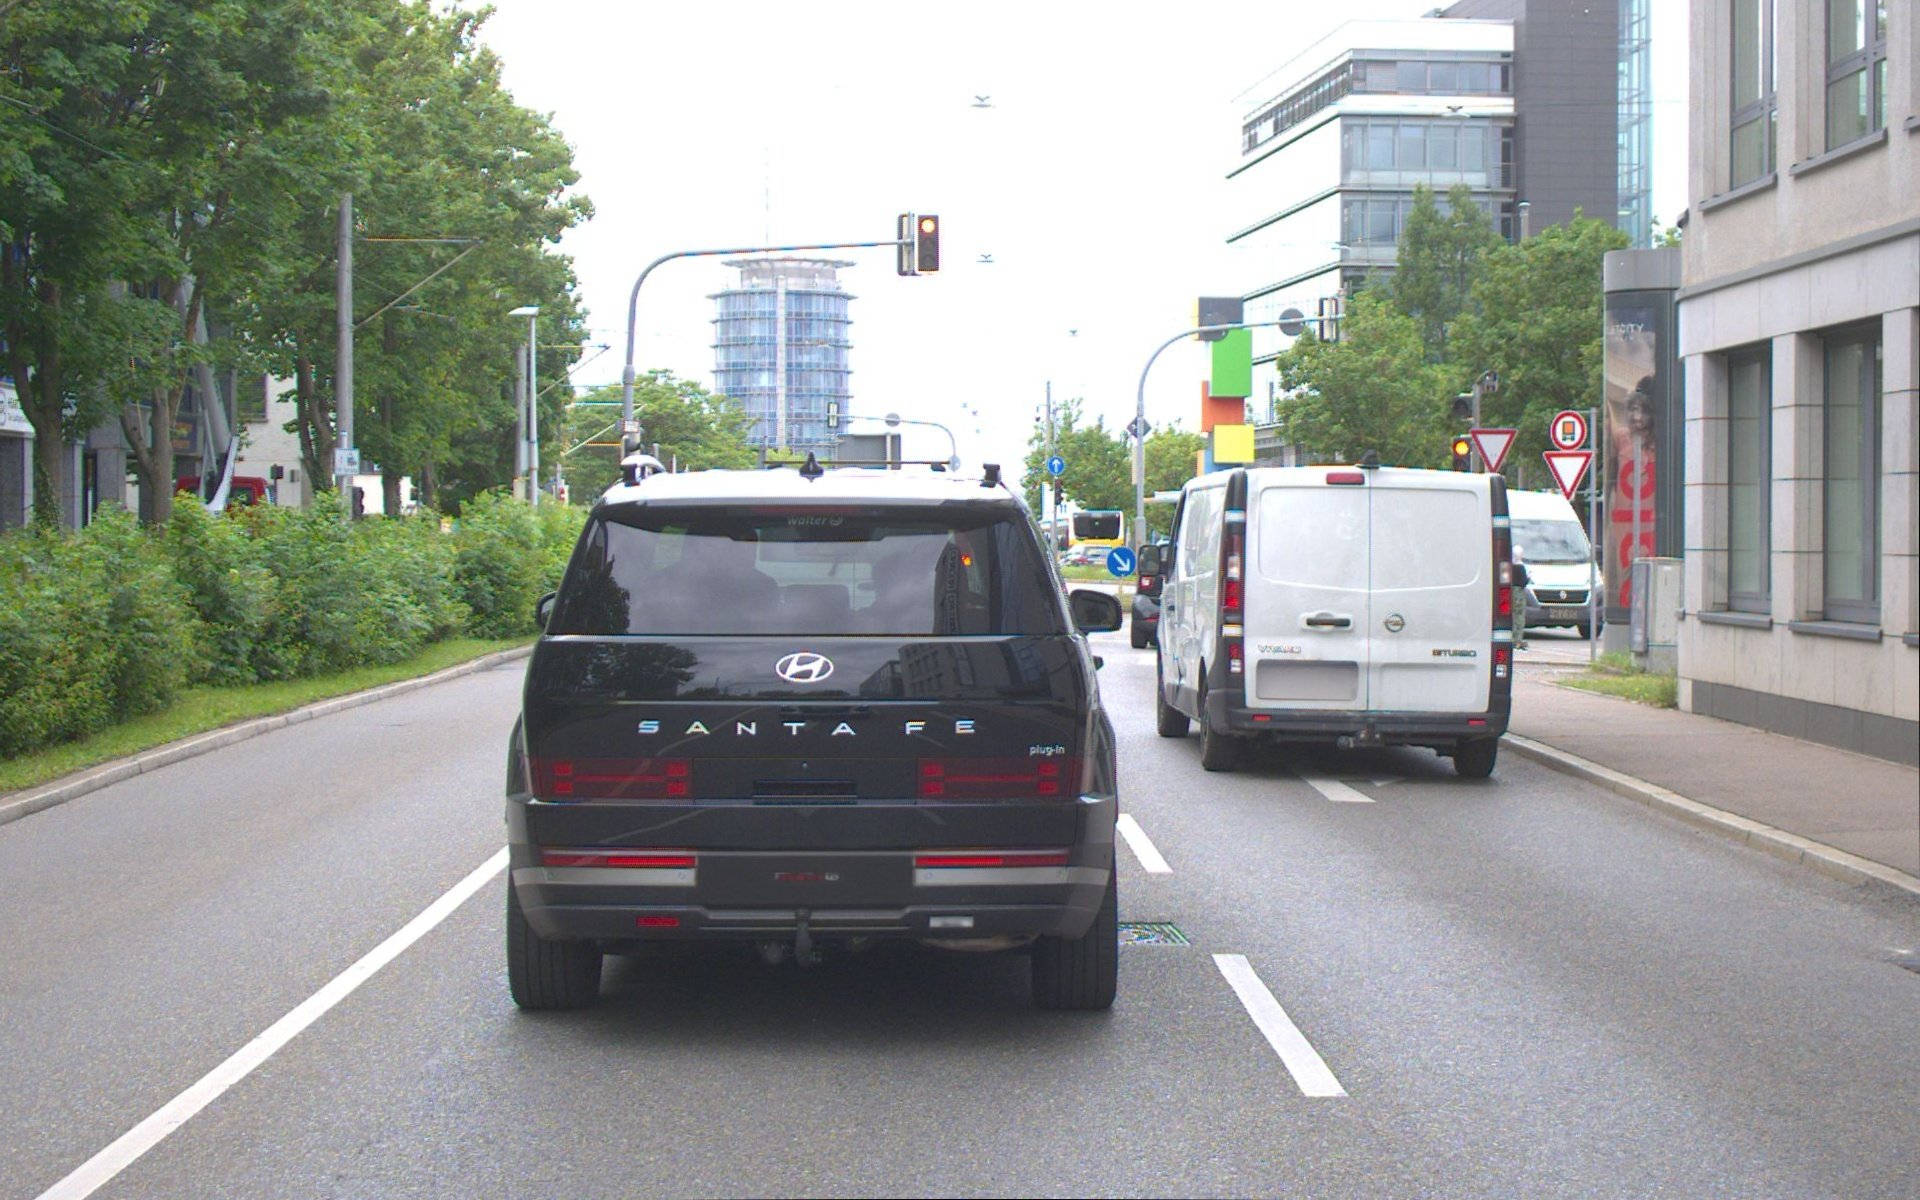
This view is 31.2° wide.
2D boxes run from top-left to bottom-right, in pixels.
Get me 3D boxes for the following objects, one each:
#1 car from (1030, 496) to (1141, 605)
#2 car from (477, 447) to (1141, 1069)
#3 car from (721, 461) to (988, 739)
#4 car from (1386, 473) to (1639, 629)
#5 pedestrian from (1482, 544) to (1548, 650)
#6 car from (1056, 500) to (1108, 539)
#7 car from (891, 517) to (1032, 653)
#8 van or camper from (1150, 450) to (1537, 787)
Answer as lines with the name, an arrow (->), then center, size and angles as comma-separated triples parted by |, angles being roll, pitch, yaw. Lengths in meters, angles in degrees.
car -> 2.390, -0.945, 66.375 | 1.993, 2.007, 4.000 | 1, 1, 0
car -> -0.449, 0.409, 11.634 | 1.869, 1.754, 3.880 | 0, 1, -1
car -> -0.787, -0.037, 26.631 | 1.915, 1.996, 3.880 | 0, 1, -1
car -> 9.551, -0.851, 60.035 | 2.297, 2.564, 5.839 | 1, 1, -13
pedestrian -> 8.451, -0.048, 52.346 | 0.738, 1.579, 0.573 | 1, 2, -40
car -> 5.582, -3.676, 157.740 | 1.993, 1.678, 4.001 | 1, 1, -3
car -> 0.058, -0.209, 45.852 | 1.776, 1.711, 4.338 | 1, 1, 1
van or camper -> 2.439, 0.066, 23.031 | 1.993, 2.007, 4.653 | 1, 1, -1
